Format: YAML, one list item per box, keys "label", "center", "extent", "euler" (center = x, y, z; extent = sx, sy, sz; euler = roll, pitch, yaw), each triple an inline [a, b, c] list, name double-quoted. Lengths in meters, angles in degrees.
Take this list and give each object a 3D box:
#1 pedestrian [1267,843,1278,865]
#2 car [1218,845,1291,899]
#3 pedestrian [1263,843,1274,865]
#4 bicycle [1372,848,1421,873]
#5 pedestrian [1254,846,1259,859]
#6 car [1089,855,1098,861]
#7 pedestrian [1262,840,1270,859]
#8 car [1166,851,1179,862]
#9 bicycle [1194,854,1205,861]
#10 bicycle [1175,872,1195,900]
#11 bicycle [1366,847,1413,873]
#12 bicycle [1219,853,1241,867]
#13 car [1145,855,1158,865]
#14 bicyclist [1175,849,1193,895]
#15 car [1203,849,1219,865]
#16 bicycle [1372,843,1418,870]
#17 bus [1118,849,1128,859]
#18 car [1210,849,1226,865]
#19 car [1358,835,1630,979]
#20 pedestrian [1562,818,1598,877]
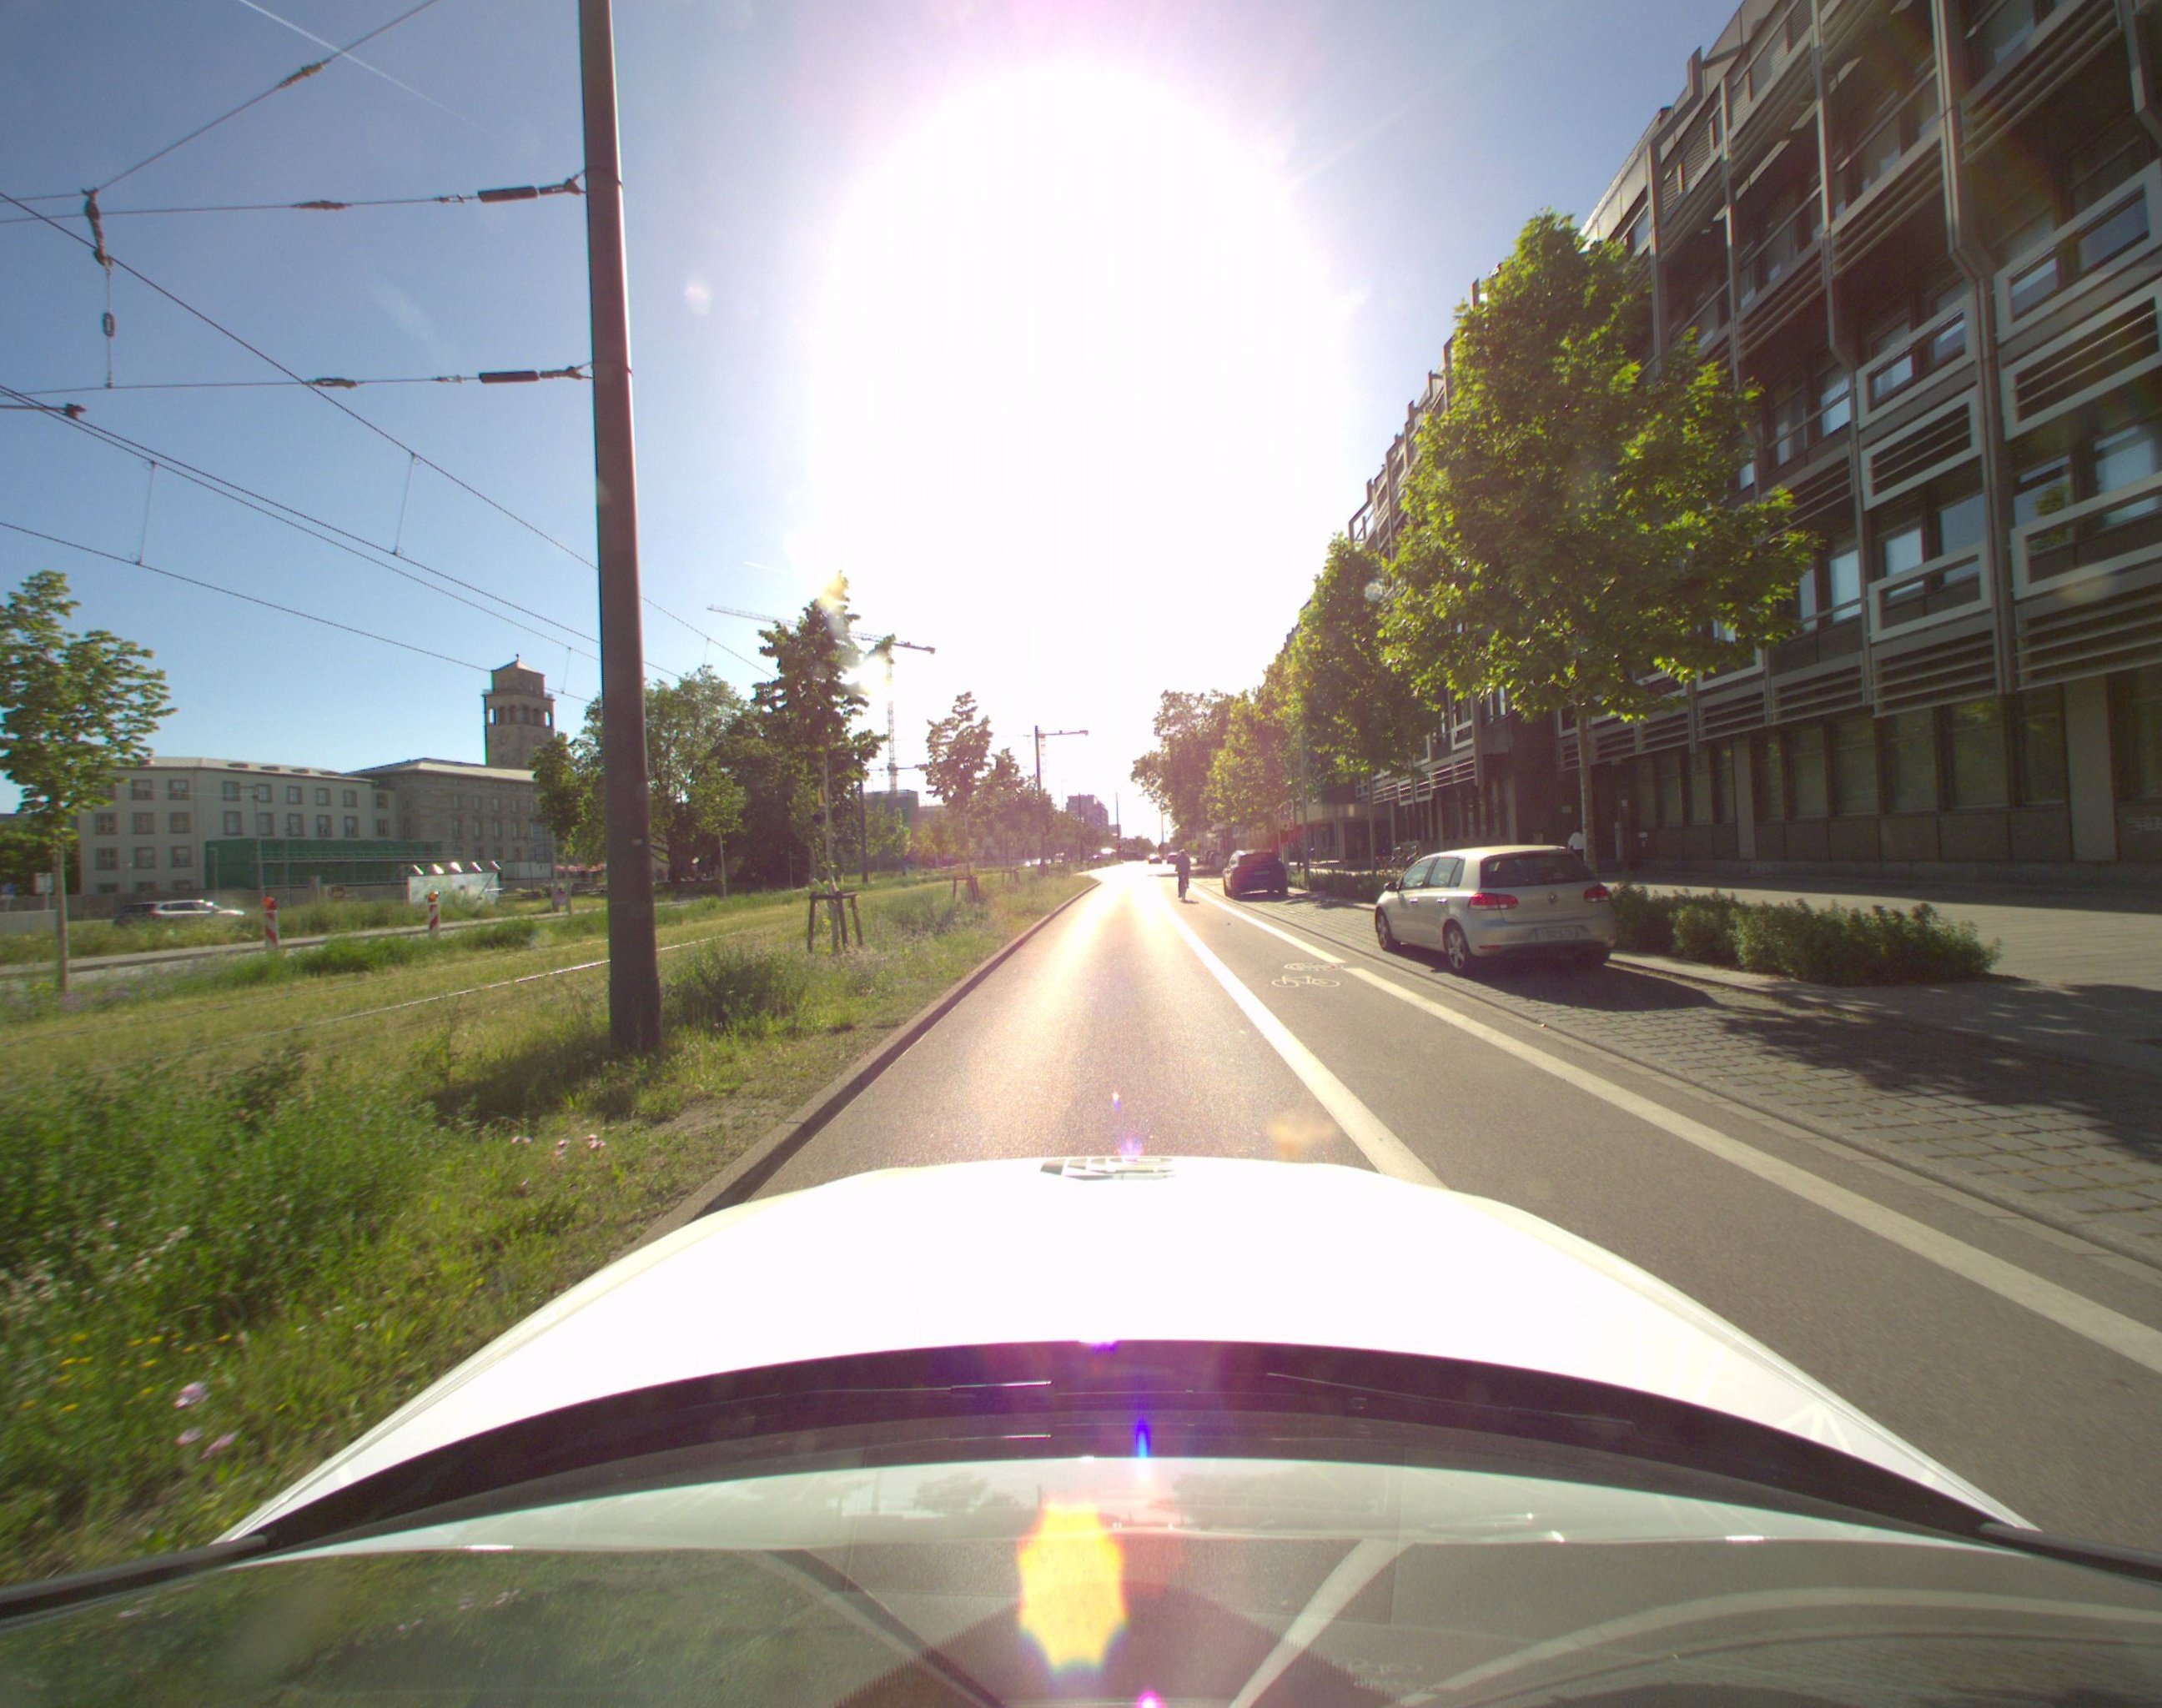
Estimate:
- label: "pedestrian"
  center: [13.257, -0.032, 56.420]
  extent: [0.508, 1.474, 0.737]
  euler: [-4, 0, 6]
- label: "car"
  center: [6.197, 0.596, 29.599]
  extent: [1.841, 1.657, 4.853]
  euler: [-4, 0, 4]
- label: "pedestrian"
  center: [14.391, -0.003, 62.575]
  extent: [0.644, 1.728, 0.804]
  euler: [-2, 0, 6]
- label: "bicycle"
  center: [13.512, 0.274, 34.867]
  extent: [1.848, 0.939, 0.427]
  euler: [-5, -1, 7]
- label: "pedestrian"
  center: [21.712, -0.171, 100.746]
  extent: [0.504, 1.584, 0.635]
  euler: [-2, 0, -2]
- label: "car"
  center: [2.492, 0.878, 162.053]
  extent: [1.369, 1.178, 3.226]
  euler: [-1, -1, 6]
- label: "pedestrian"
  center: [16.928, -0.404, 74.399]
  extent: [0.508, 1.701, 0.775]
  euler: [-5, 0, 6]
- label: "car"
  center: [14.117, 0.352, 125.530]
  extent: [1.712, 1.618, 4.196]
  euler: [-2, 0, 8]
- label: "bicycle"
  center: [18.124, 0.563, 124.579]
  extent: [1.686, 0.957, 0.478]
  euler: [-4, 0, 2]
- label: "bicycle"
  center: [3.688, 1.121, 28.993]
  extent: [0.495, 0.906, 2.198]
  euler: [-1, 0, 2]
- label: "bicycle"
  center: [13.744, 0.264, 36.274]
  extent: [1.848, 1.011, 0.427]
  euler: [-5, -1, 7]
- label: "bicycle"
  center: [13.555, 0.544, 74.059]
  extent: [1.928, 1.237, 0.579]
  euler: [-3, -1, 3]
- label: "car"
  center: [11.250, 0.941, 129.550]
  extent: [1.902, 1.486, 4.016]
  euler: [-2, 0, 6]
- label: "bicyclist"
  center: [3.676, 0.628, 28.984]
  extent: [0.510, 1.601, 0.537]
  euler: [-3, -1, 2]
- label: "car"
  center: [16.550, 0.339, 103.736]
  extent: [1.695, 1.790, 4.200]
  euler: [-5, 0, 7]
- label: "bicycle"
  center: [14.404, 0.126, 37.428]
  extent: [1.848, 1.097, 0.427]
  euler: [-5, -1, 7]
- label: "bus"
  center: [12.393, 0.003, 238.043]
  extent: [2.616, 2.959, 9.910]
  euler: [-1, -1, 4]
- label: "car"
  center: [15.540, 0.290, 92.469]
  extent: [1.694, 1.643, 4.647]
  euler: [-2, 0, 9]
- label: "car"
  center: [5.240, 0.583, 11.026]
  extent: [1.612, 1.465, 4.157]
  euler: [-4, 0, 2]
- label: "pedestrian"
  center: [14.342, -0.179, 23.410]
  extent: [0.508, 1.622, 0.675]
  euler: [-5, -1, 6]
